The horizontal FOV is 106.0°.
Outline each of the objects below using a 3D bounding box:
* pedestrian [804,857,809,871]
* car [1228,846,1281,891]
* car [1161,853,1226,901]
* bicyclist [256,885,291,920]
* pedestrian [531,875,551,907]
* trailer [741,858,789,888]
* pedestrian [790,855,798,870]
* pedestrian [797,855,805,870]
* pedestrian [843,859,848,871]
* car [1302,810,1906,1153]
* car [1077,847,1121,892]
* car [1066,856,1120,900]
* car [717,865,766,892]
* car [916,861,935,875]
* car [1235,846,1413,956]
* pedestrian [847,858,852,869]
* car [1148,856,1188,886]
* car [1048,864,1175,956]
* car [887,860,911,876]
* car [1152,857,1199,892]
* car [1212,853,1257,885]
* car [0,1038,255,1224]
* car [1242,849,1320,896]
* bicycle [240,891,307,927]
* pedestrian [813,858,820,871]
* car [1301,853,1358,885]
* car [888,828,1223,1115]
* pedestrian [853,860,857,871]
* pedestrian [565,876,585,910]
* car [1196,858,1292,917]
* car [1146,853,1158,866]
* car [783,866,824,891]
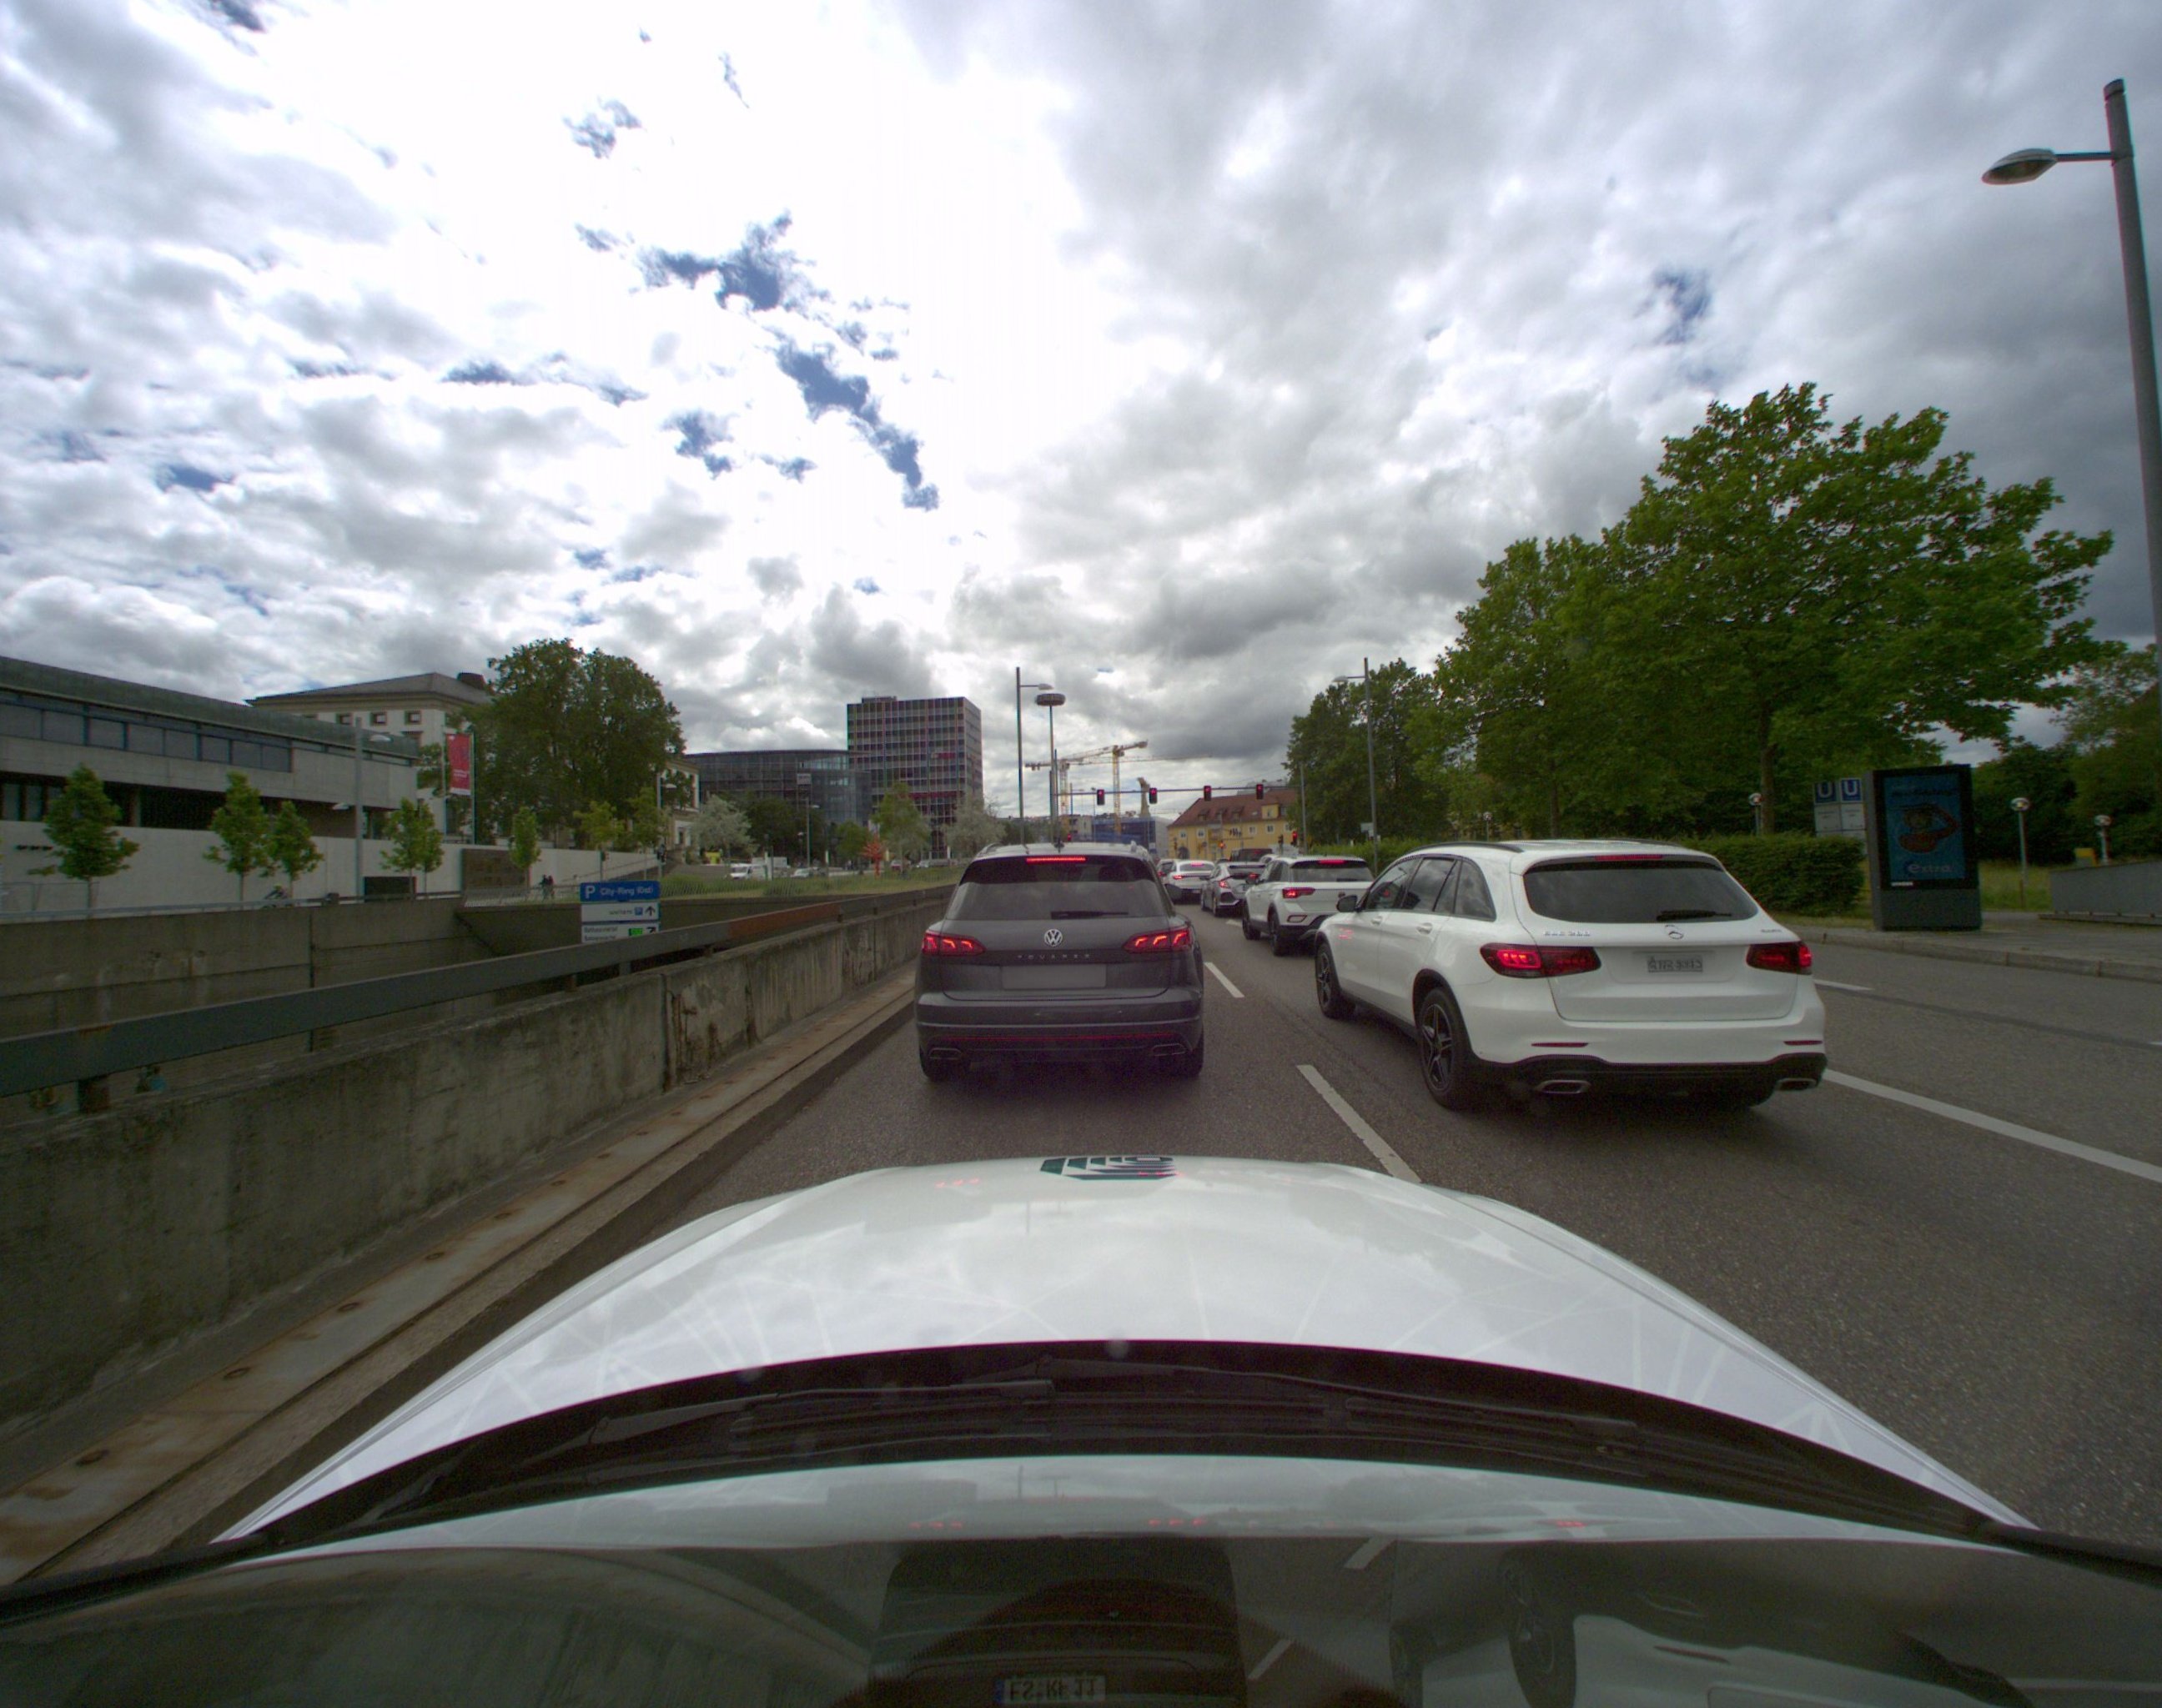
[{"bbox_3d":[-42.761,1.544,126.807,0.741,2.013,0.914,-2,1,-22],"label":"pedestrian"},{"bbox_3d":[8.261,0.685,39.057,1.902,2.014,4.014,0,-1,3],"label":"car"},{"bbox_3d":[3.906,0.795,28.964,1.918,1.529,4.493,-1,-1,3],"label":"car"},{"bbox_3d":[-36.393,2.176,36.702,0.728,1.554,0.776,0,-2,1],"label":"bicyclist"},{"bbox_3d":[-35.287,2.427,53.189,0.731,2.013,0.798,-1,1,28],"label":"pedestrian"},{"bbox_3d":[-28.775,1.707,74.396,2.030,2.604,5.511,0,0,2],"label":"trailer"},{"bbox_3d":[-40.137,1.199,114.022,0.735,2.013,0.793,-2,1,2],"label":"pedestrian"},{"bbox_3d":[-38.696,1.221,112.708,0.734,2.014,0.794,-2,-3,7],"label":"pedestrian"},{"bbox_3d":[-42.164,1.983,145.566,0.741,2.013,0.787,-2,1,-20],"label":"pedestrian"},{"bbox_3d":[3.160,0.630,6.240,1.918,1.653,4.493,-1,0,3],"label":"car"},{"bbox_3d":[0.875,0.712,38.683,1.944,2.018,3.932,0,0,1],"label":"car"},{"bbox_3d":[0.478,0.875,31.151,1.944,1.600,3.932,0,0,1],"label":"car"},{"bbox_3d":[-28.826,2.041,69.280,1.985,2.013,4.695,-2,1,3],"label":"car"},{"bbox_3d":[-23.992,2.143,125.729,1.986,2.013,4.693,-2,1,1],"label":"car"},{"bbox_3d":[3.909,0.710,13.962,1.918,1.551,4.493,-1,-1,3],"label":"car"},{"bbox_3d":[-42.136,1.747,148.326,0.739,2.013,0.789,-2,1,-14],"label":"pedestrian"},{"bbox_3d":[4.658,0.927,44.064,1.918,1.529,4.050,-1,-1,3],"label":"car"},{"bbox_3d":[0.529,0.881,14.508,1.944,1.384,3.932,0,0,1],"label":"car"},{"bbox_3d":[-24.557,1.836,110.032,1.986,2.013,4.693,-2,1,1],"label":"car"},{"bbox_3d":[4.340,0.937,37.779,1.918,1.529,4.050,-1,-1,3],"label":"car"},{"bbox_3d":[8.343,0.820,44.638,1.902,1.697,4.014,0,-1,3],"label":"car"},{"bbox_3d":[-19.605,5.144,14.950,2.610,2.311,5.936,0,-2,2],"label":"car"},{"bbox_3d":[7.853,0.678,32.380,1.987,1.639,4.304,-2,1,0],"label":"car"},{"bbox_3d":[-36.402,2.456,36.750,0.723,1.536,2.190,0,-2,1],"label":"bicycle"},{"bbox_3d":[-42.263,1.641,130.262,0.786,2.013,0.742,-2,1,8],"label":"pedestrian"},{"bbox_3d":[12.111,0.742,39.954,1.921,1.460,4.535,0,-1,7],"label":"car"},{"bbox_3d":[-0.095,0.705,6.783,1.944,1.651,4.001,-1,0,1],"label":"car"},{"bbox_3d":[-41.249,2.042,148.632,0.740,2.013,0.788,-2,1,-17],"label":"pedestrian"},{"bbox_3d":[-31.696,2.432,50.986,0.868,2.013,0.621,-3,1,-44],"label":"pedestrian"},{"bbox_3d":[4.319,0.852,22.223,1.918,1.432,4.493,-1,-1,3],"label":"car"},{"bbox_3d":[9.694,0.776,111.422,1.612,1.627,4.002,0,-2,3],"label":"car"},{"bbox_3d":[-25.692,2.216,75.507,1.985,2.013,4.695,-2,1,3],"label":"car"}]
